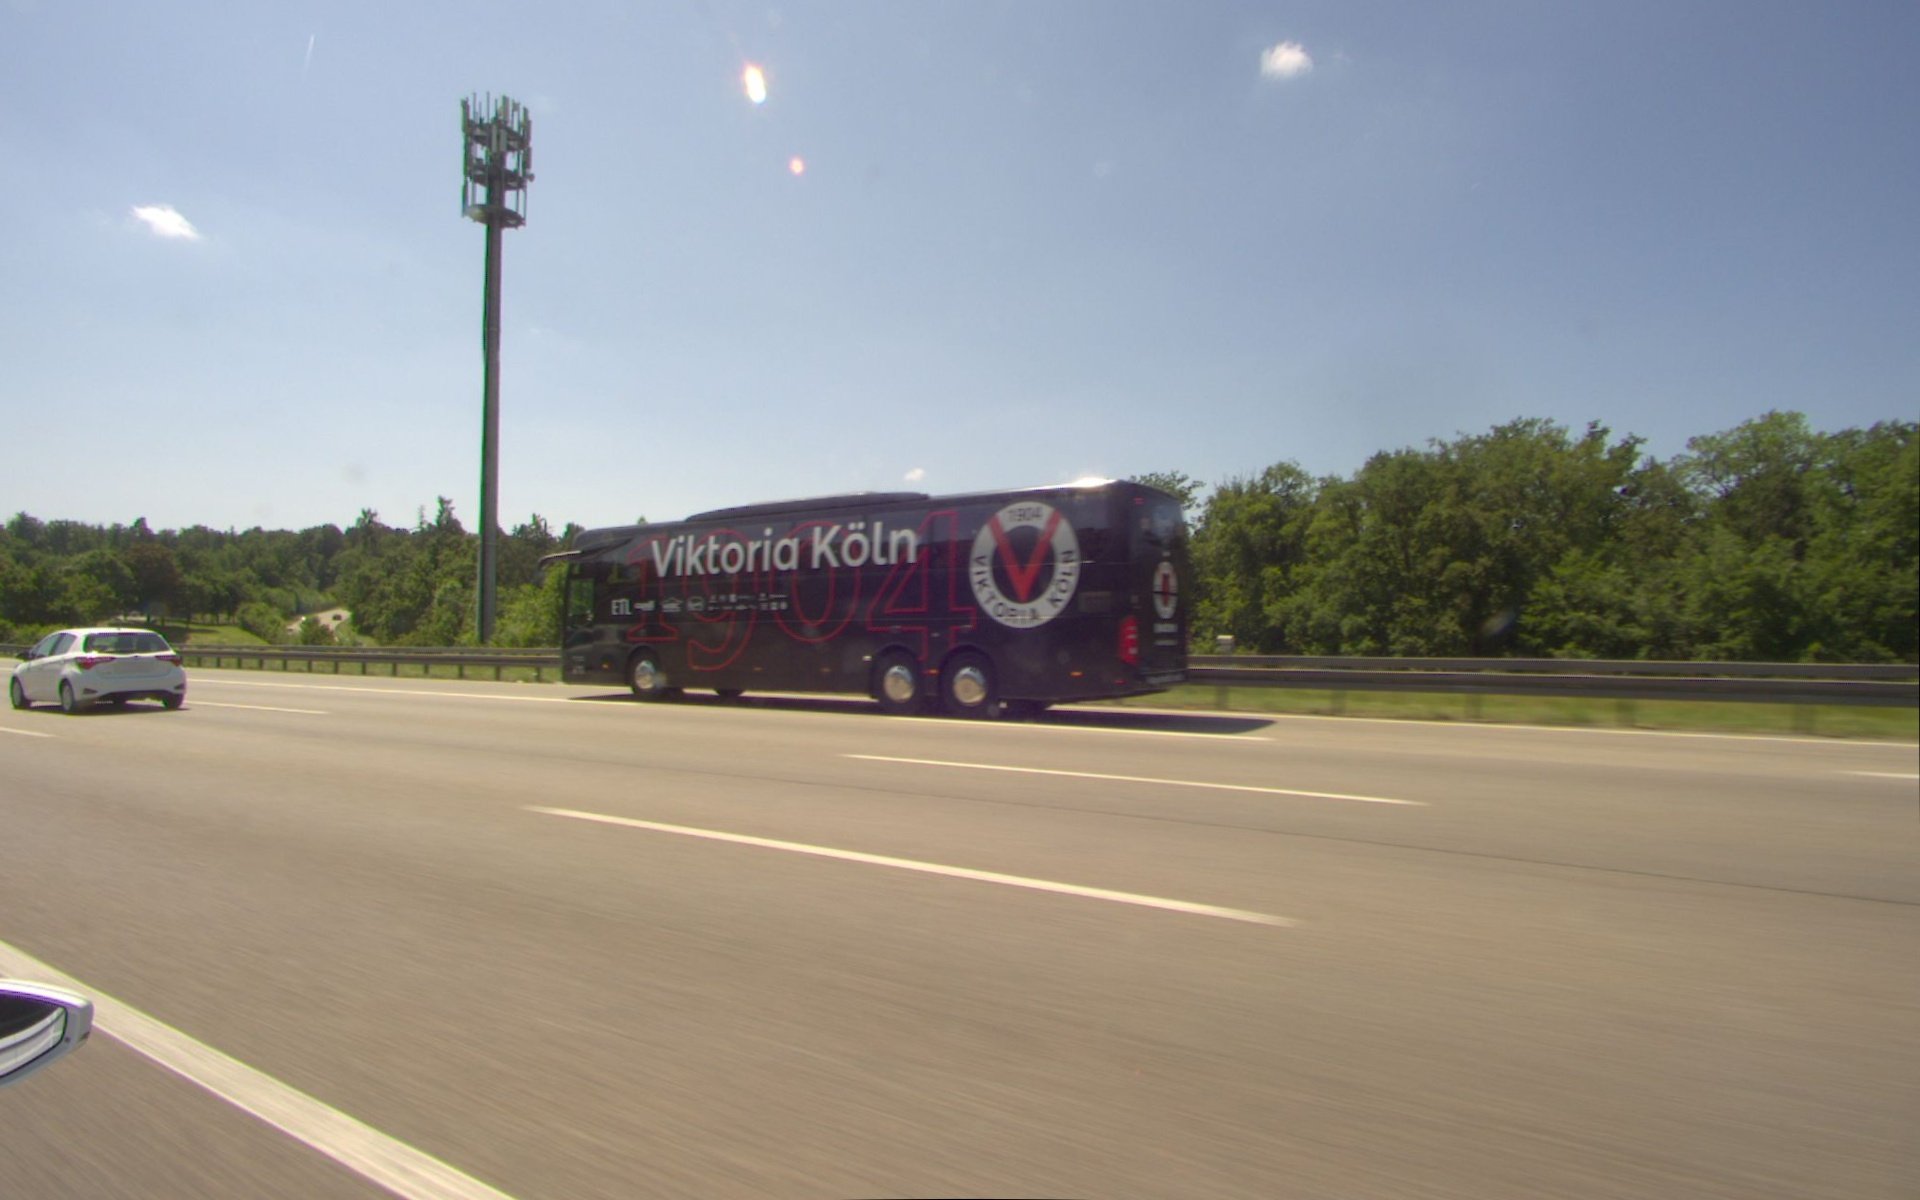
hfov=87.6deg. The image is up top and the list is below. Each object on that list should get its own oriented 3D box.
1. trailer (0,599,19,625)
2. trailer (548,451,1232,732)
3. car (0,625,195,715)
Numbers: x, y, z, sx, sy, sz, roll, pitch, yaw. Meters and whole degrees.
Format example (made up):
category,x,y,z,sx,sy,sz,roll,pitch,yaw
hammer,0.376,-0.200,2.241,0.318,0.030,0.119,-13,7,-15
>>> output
category,x,y,z,sx,sy,sz,roll,pitch,yaw
trailer,-136.094,1.713,139.481,3.119,3.686,13.565,1,0,-25
trailer,-2.095,0.075,18.139,13.352,3.734,2.852,-1,-2,33
car,-16.245,1.239,18.763,4.314,1.453,1.662,-1,1,33
